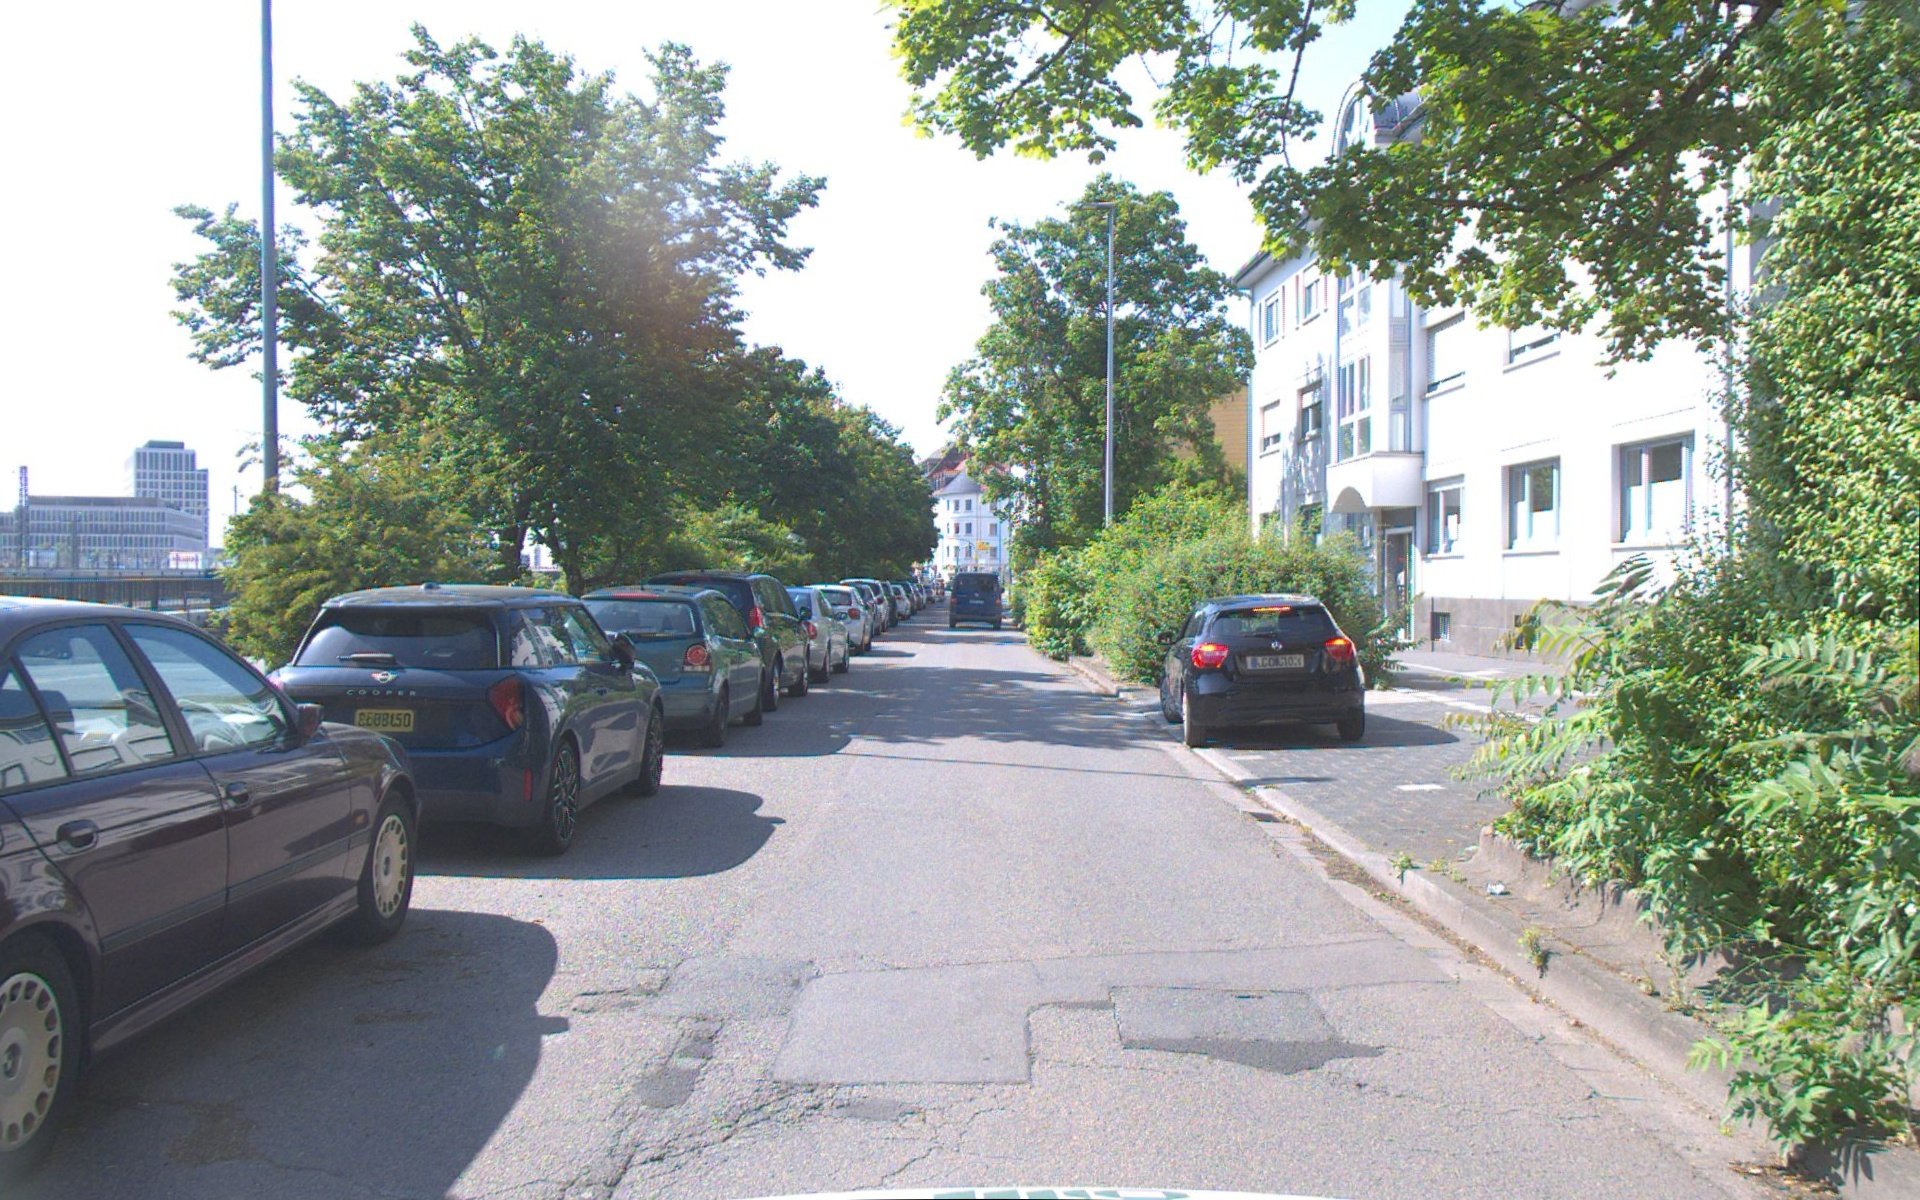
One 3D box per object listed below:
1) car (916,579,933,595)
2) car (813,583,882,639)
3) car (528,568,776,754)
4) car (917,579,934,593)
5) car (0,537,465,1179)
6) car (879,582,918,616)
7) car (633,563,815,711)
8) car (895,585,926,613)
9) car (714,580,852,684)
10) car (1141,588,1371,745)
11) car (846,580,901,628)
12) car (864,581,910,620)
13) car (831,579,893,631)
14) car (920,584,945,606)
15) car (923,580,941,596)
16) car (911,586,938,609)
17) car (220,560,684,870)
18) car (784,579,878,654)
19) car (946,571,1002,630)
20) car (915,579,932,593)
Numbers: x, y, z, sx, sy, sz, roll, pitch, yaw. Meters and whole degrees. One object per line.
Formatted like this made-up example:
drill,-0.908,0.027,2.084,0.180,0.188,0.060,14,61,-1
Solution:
car,-3.993,-1.479,187.166,1.953,1.686,3.999,1,0,-1
car,-3.153,0.282,47.055,1.629,1.536,4.201,0,0,0
car,-2.884,0.506,16.228,1.630,1.538,3.790,3,1,0
car,-4.073,-1.658,196.018,1.953,1.686,3.740,1,0,-1
car,-3.083,0.574,5.111,1.630,1.538,4.594,3,1,0
car,-2.976,-0.057,80.260,1.630,1.536,4.009,3,1,0
car,-2.857,0.398,20.791,1.630,1.611,3.932,3,1,0
car,-2.900,-0.067,96.846,1.629,1.536,4.008,1,0,0
car,-2.698,0.439,26.074,1.630,1.431,4.320,3,1,0
car,2.994,0.613,17.486,1.691,1.445,4.000,-1,0,0
car,-3.000,0.114,58.165,1.630,1.536,4.009,3,1,0
car,-3.032,-0.006,69.254,1.630,1.536,4.009,3,1,0
car,-3.090,0.135,52.827,1.630,1.536,4.009,3,1,0
car,-2.154,-0.424,132.299,1.953,1.686,3.999,1,0,-1
car,-2.952,-1.268,175.149,1.953,1.686,3.999,1,0,-1
car,-2.620,-0.211,122.496,1.953,1.686,3.999,1,0,-1
car,-2.896,0.559,10.289,1.630,1.499,3.790,3,1,0
car,-2.785,0.319,36.480,1.630,1.494,4.201,3,1,0
car,0.512,0.001,59.196,1.844,1.955,4.009,3,1,0
car,-4.442,-1.731,200.223,1.953,1.686,3.740,1,0,-1
